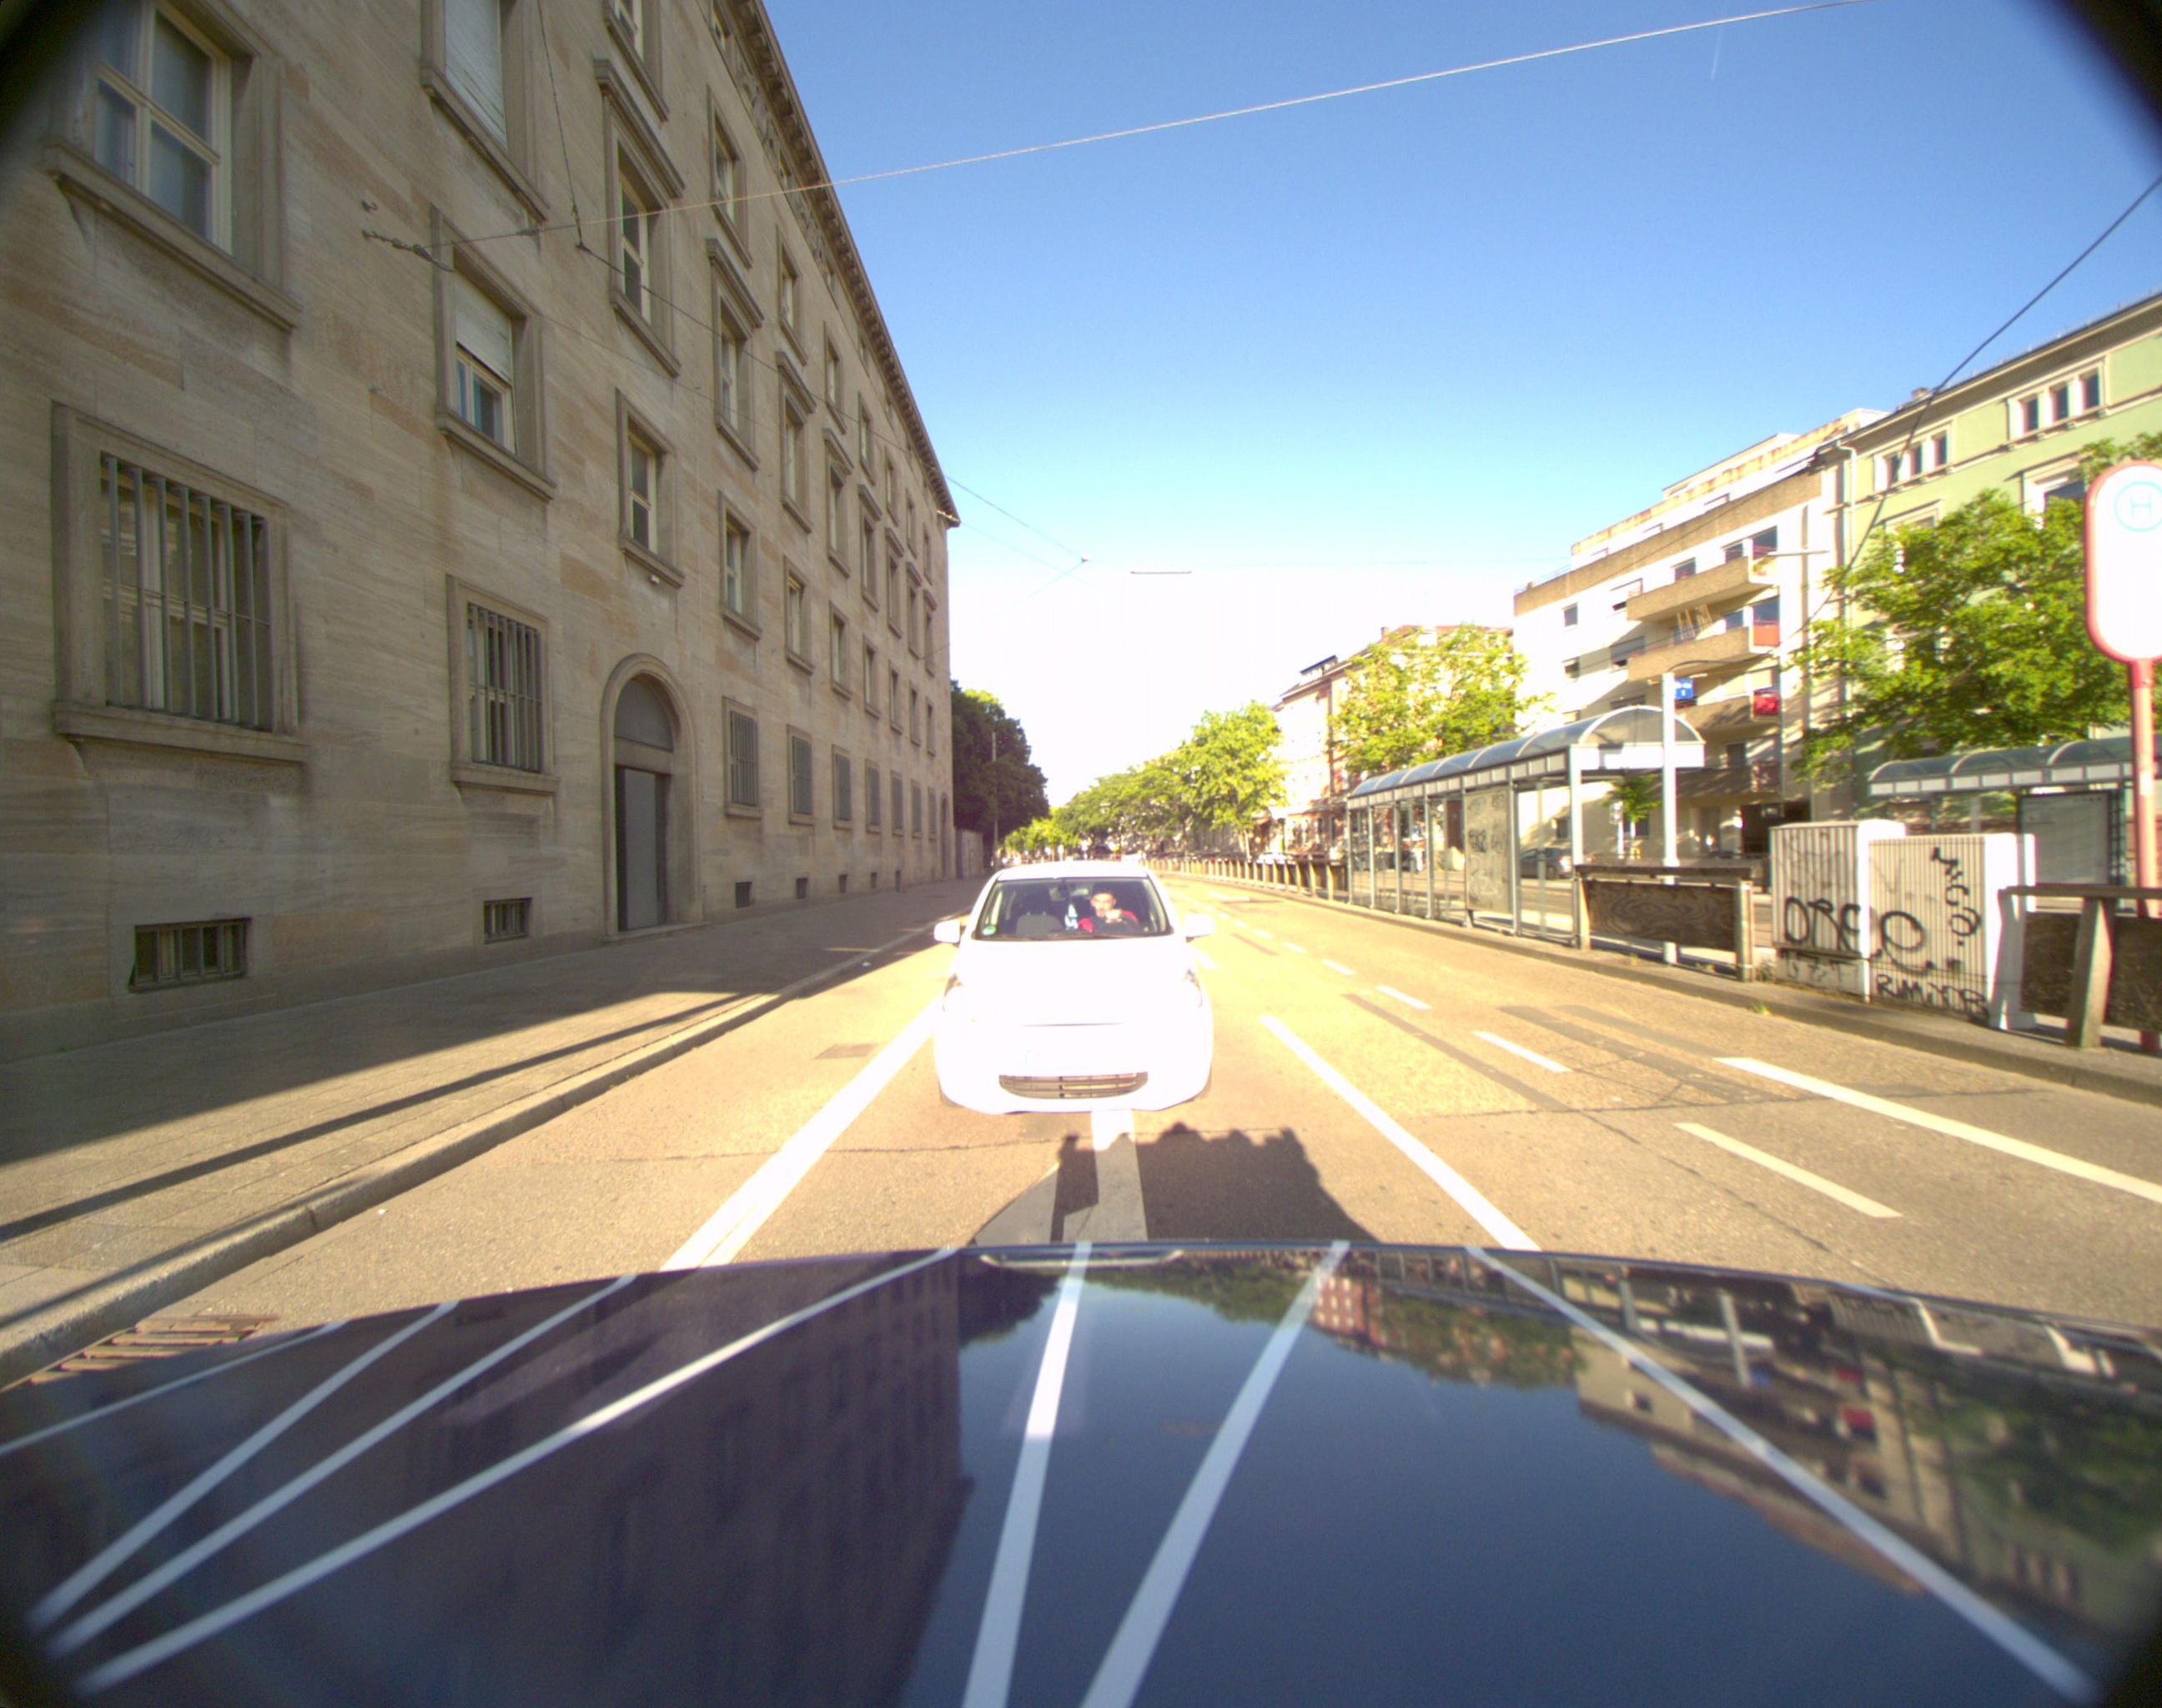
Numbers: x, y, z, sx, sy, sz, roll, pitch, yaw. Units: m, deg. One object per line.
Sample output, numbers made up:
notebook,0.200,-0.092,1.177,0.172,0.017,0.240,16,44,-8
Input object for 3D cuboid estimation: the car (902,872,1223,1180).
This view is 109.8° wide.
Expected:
car,-0.070,0.923,5.699,1.612,1.450,3.667,-1,0,1

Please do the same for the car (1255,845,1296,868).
car,16.318,0.167,63.670,1.994,1.713,4.007,0,2,34

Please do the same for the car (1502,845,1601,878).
car,20.857,0.318,33.827,1.615,1.387,3.516,-1,0,-19

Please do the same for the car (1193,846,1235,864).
car,13.365,0.117,76.720,3.996,1.674,2.000,-1,0,4

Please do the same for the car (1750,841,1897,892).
car,23.945,0.371,24.543,3.796,1.526,1.772,-1,0,-17

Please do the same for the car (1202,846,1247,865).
car,13.651,0.132,72.586,3.996,1.674,2.000,-1,0,4

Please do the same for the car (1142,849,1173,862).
car,9.580,0.135,95.709,3.864,1.583,2.001,-1,0,4

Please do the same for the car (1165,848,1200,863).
car,11.452,0.149,86.083,3.864,1.583,2.001,-1,0,5

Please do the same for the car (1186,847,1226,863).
car,13.173,0.089,80.523,3.996,1.674,2.000,-1,0,4
